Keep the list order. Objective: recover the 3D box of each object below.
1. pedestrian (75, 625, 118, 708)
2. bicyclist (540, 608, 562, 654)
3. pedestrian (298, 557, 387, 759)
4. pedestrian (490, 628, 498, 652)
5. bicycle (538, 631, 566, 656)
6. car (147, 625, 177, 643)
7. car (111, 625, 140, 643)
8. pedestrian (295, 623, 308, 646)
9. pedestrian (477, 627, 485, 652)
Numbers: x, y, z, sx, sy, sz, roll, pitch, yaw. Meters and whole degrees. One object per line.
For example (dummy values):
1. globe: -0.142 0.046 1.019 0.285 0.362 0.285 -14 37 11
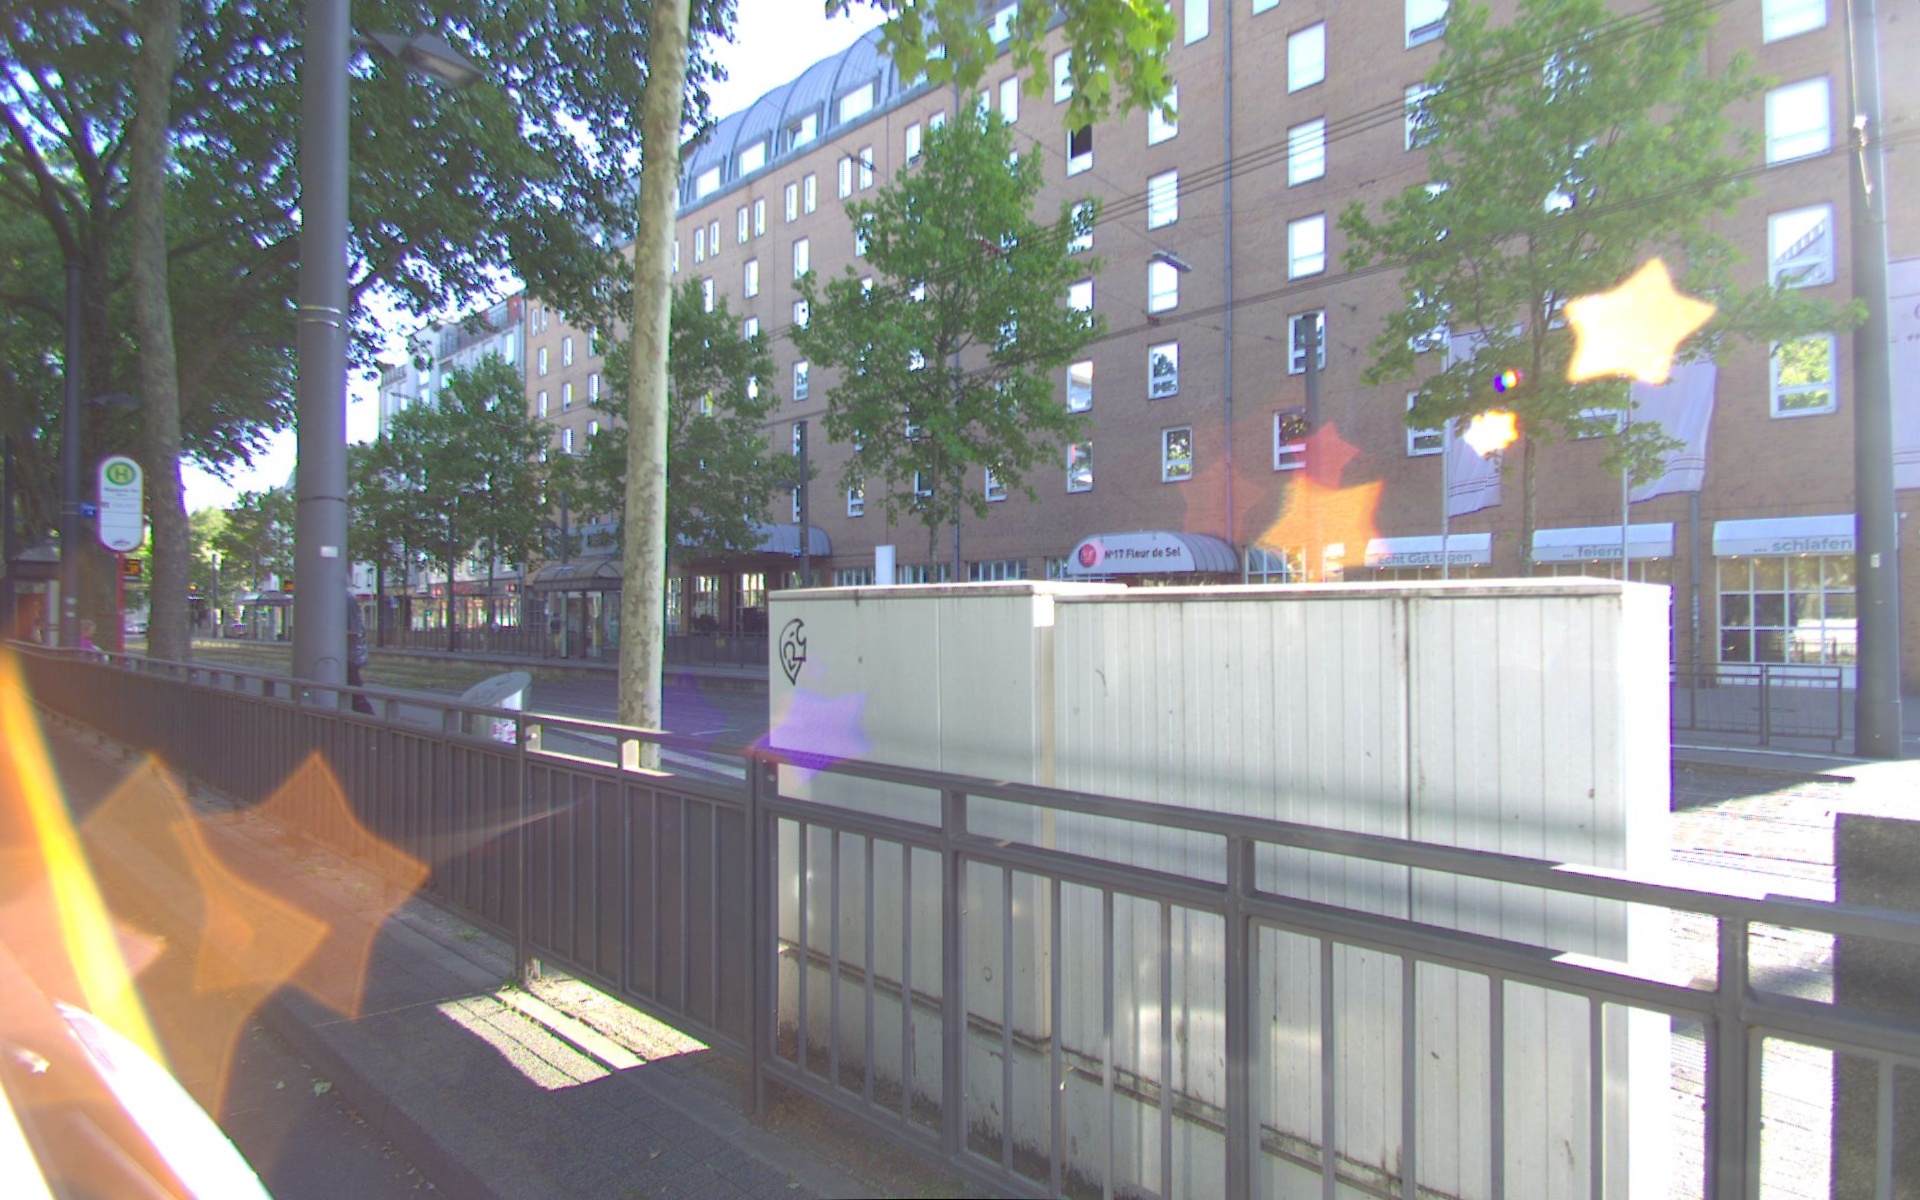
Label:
1. pedestrian: -13.954 1.060 16.354 0.493 1.325 0.419 1 -2 -41
2. bicyclist: -16.982 1.287 42.005 0.564 1.918 0.814 2 -2 -43
3. pedestrian: -6.015 0.548 9.889 0.612 1.897 0.608 1 0 -20
4. pedestrian: -29.694 2.559 64.438 0.431 1.532 0.660 1 -2 -27
5. bicycle: -16.993 1.814 42.116 0.444 1.012 1.754 2 -2 -44
6. car: -93.058 3.942 118.003 3.998 2.029 1.973 -1 -2 41
7. car: -98.515 3.978 119.418 3.998 2.029 1.973 -1 -2 41
8. pedestrian: -58.191 3.011 89.396 0.763 2.029 0.796 -2 -2 41
9. pedestrian: -30.362 2.498 64.148 0.431 1.518 0.660 1 -2 -27
